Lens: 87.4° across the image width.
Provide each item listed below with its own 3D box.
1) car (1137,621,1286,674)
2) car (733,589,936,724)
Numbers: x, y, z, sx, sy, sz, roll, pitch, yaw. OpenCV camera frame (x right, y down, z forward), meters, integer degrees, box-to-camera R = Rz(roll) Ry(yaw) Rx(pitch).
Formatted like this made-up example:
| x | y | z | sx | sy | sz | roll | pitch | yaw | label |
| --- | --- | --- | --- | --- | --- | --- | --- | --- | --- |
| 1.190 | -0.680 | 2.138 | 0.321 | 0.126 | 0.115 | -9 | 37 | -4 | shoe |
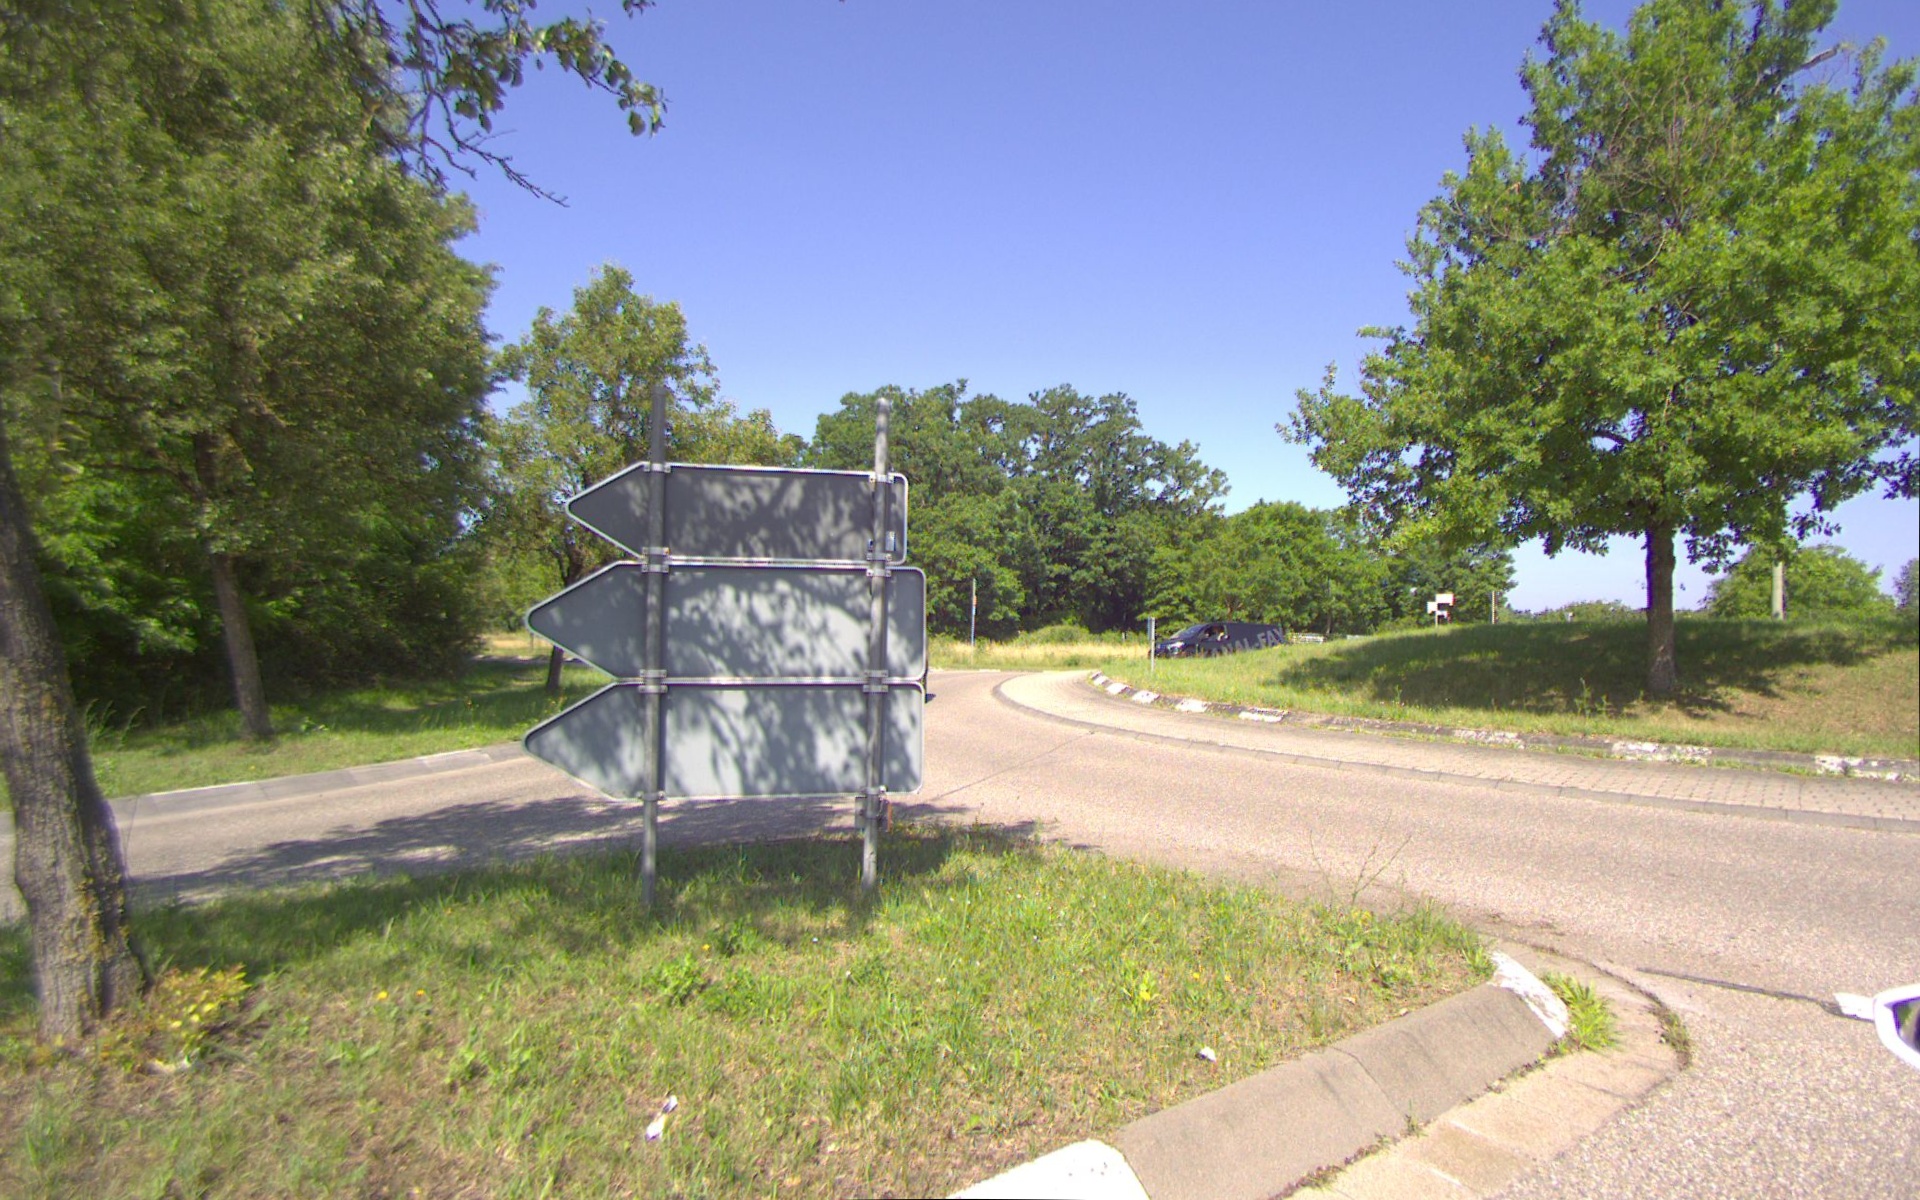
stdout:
| x | y | z | sx | sy | sz | roll | pitch | yaw | label |
| --- | --- | --- | --- | --- | --- | --- | --- | --- | --- |
| 8.689 | 1.615 | 34.762 | 4.646 | 1.737 | 2.092 | 1 | -1 | -20 | car |
| -1.810 | 0.857 | 16.194 | 1.861 | 1.839 | 4.600 | 0 | -2 | 11 | car |
